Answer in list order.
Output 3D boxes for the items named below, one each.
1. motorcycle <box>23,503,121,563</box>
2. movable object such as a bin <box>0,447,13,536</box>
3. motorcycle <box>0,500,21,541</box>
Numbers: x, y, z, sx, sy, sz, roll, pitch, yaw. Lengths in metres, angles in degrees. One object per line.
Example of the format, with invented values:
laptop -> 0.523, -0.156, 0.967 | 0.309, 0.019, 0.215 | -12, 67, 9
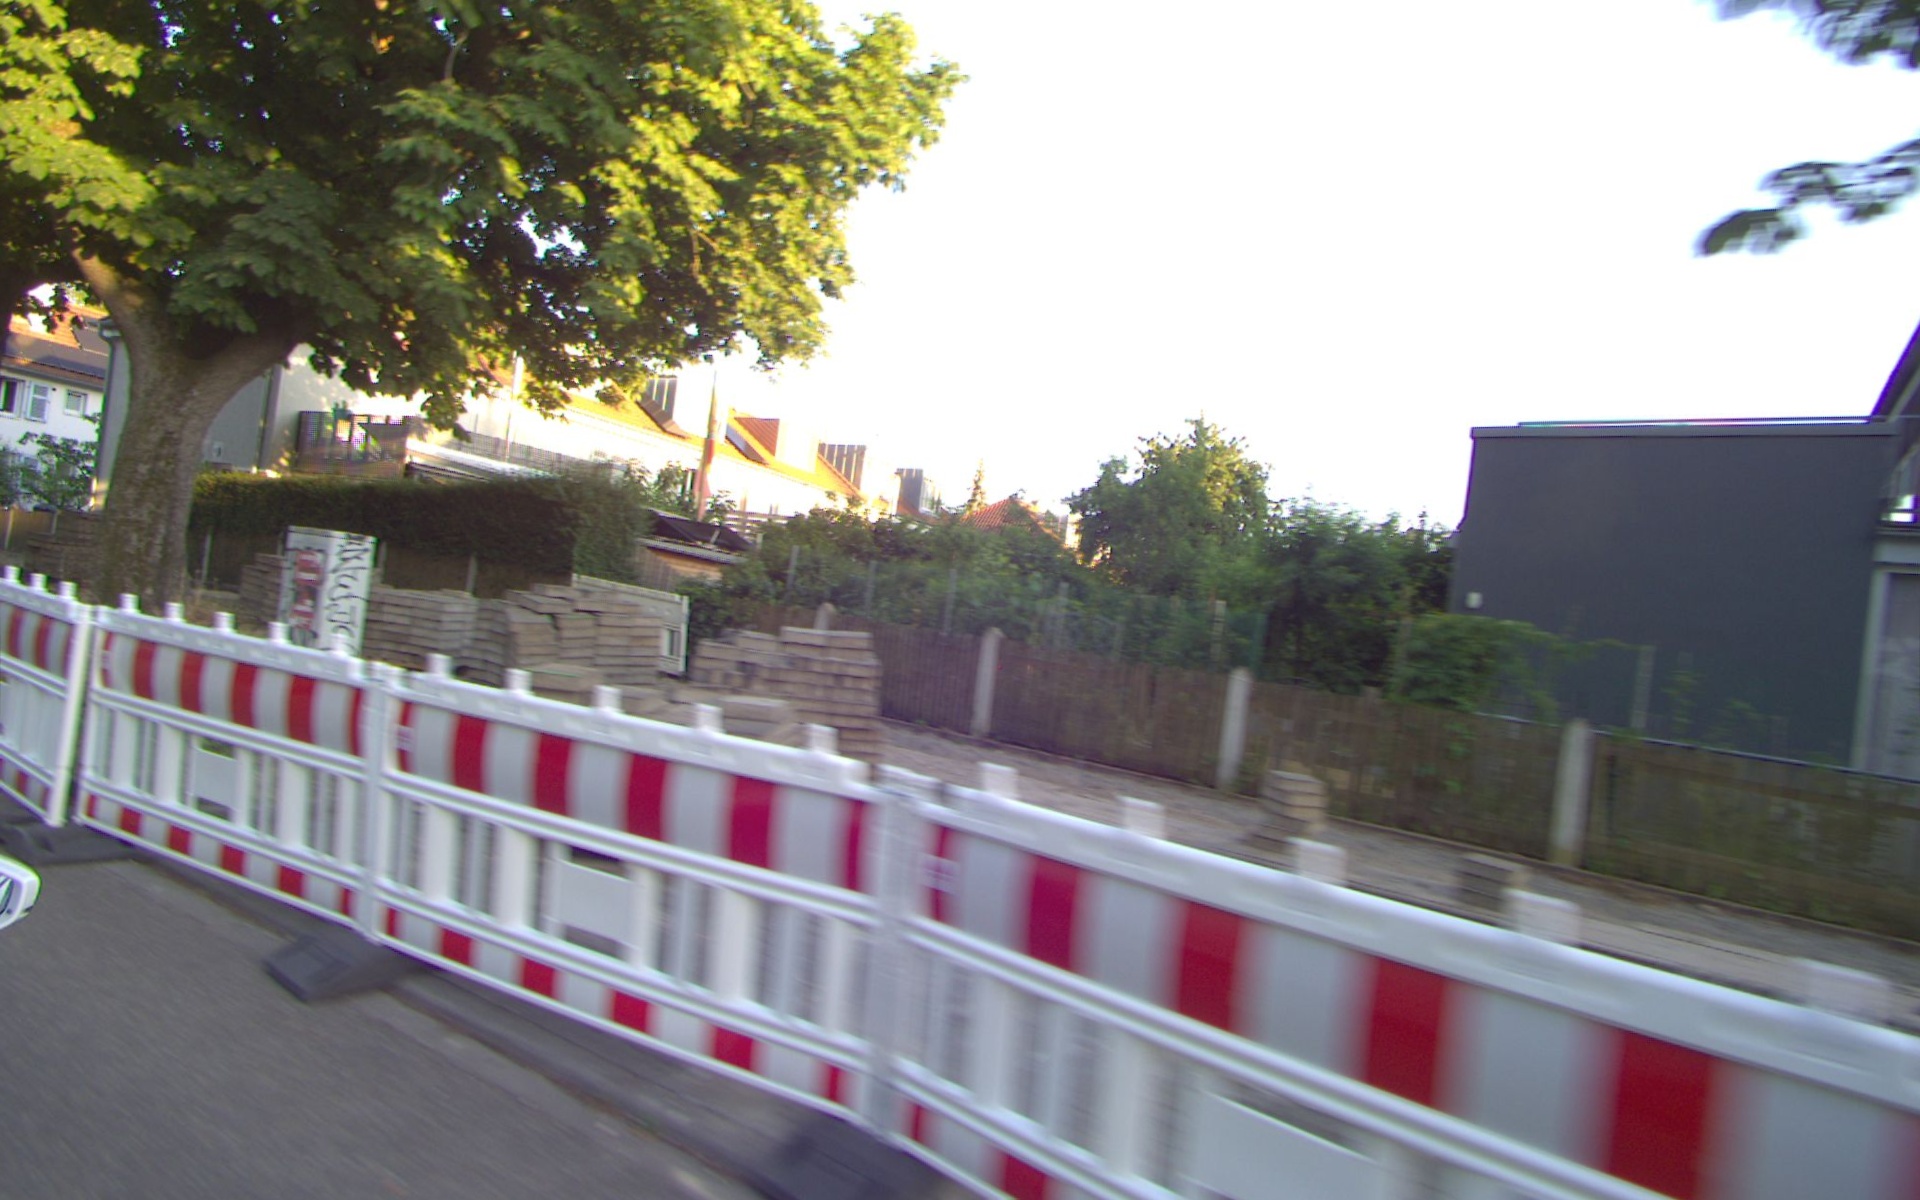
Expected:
motorcycle -> -26.995, -2.022, 30.615 | 2.049, 1.433, 0.596 | 9, -1, -14
movable object such as a bin -> -19.219, -1.799, 17.085 | 5.104, 2.430, 2.637 | 7, -2, 25
motorcycle -> -27.433, -2.309, 28.330 | 0.573, 1.118, 1.840 | 8, -2, -17
